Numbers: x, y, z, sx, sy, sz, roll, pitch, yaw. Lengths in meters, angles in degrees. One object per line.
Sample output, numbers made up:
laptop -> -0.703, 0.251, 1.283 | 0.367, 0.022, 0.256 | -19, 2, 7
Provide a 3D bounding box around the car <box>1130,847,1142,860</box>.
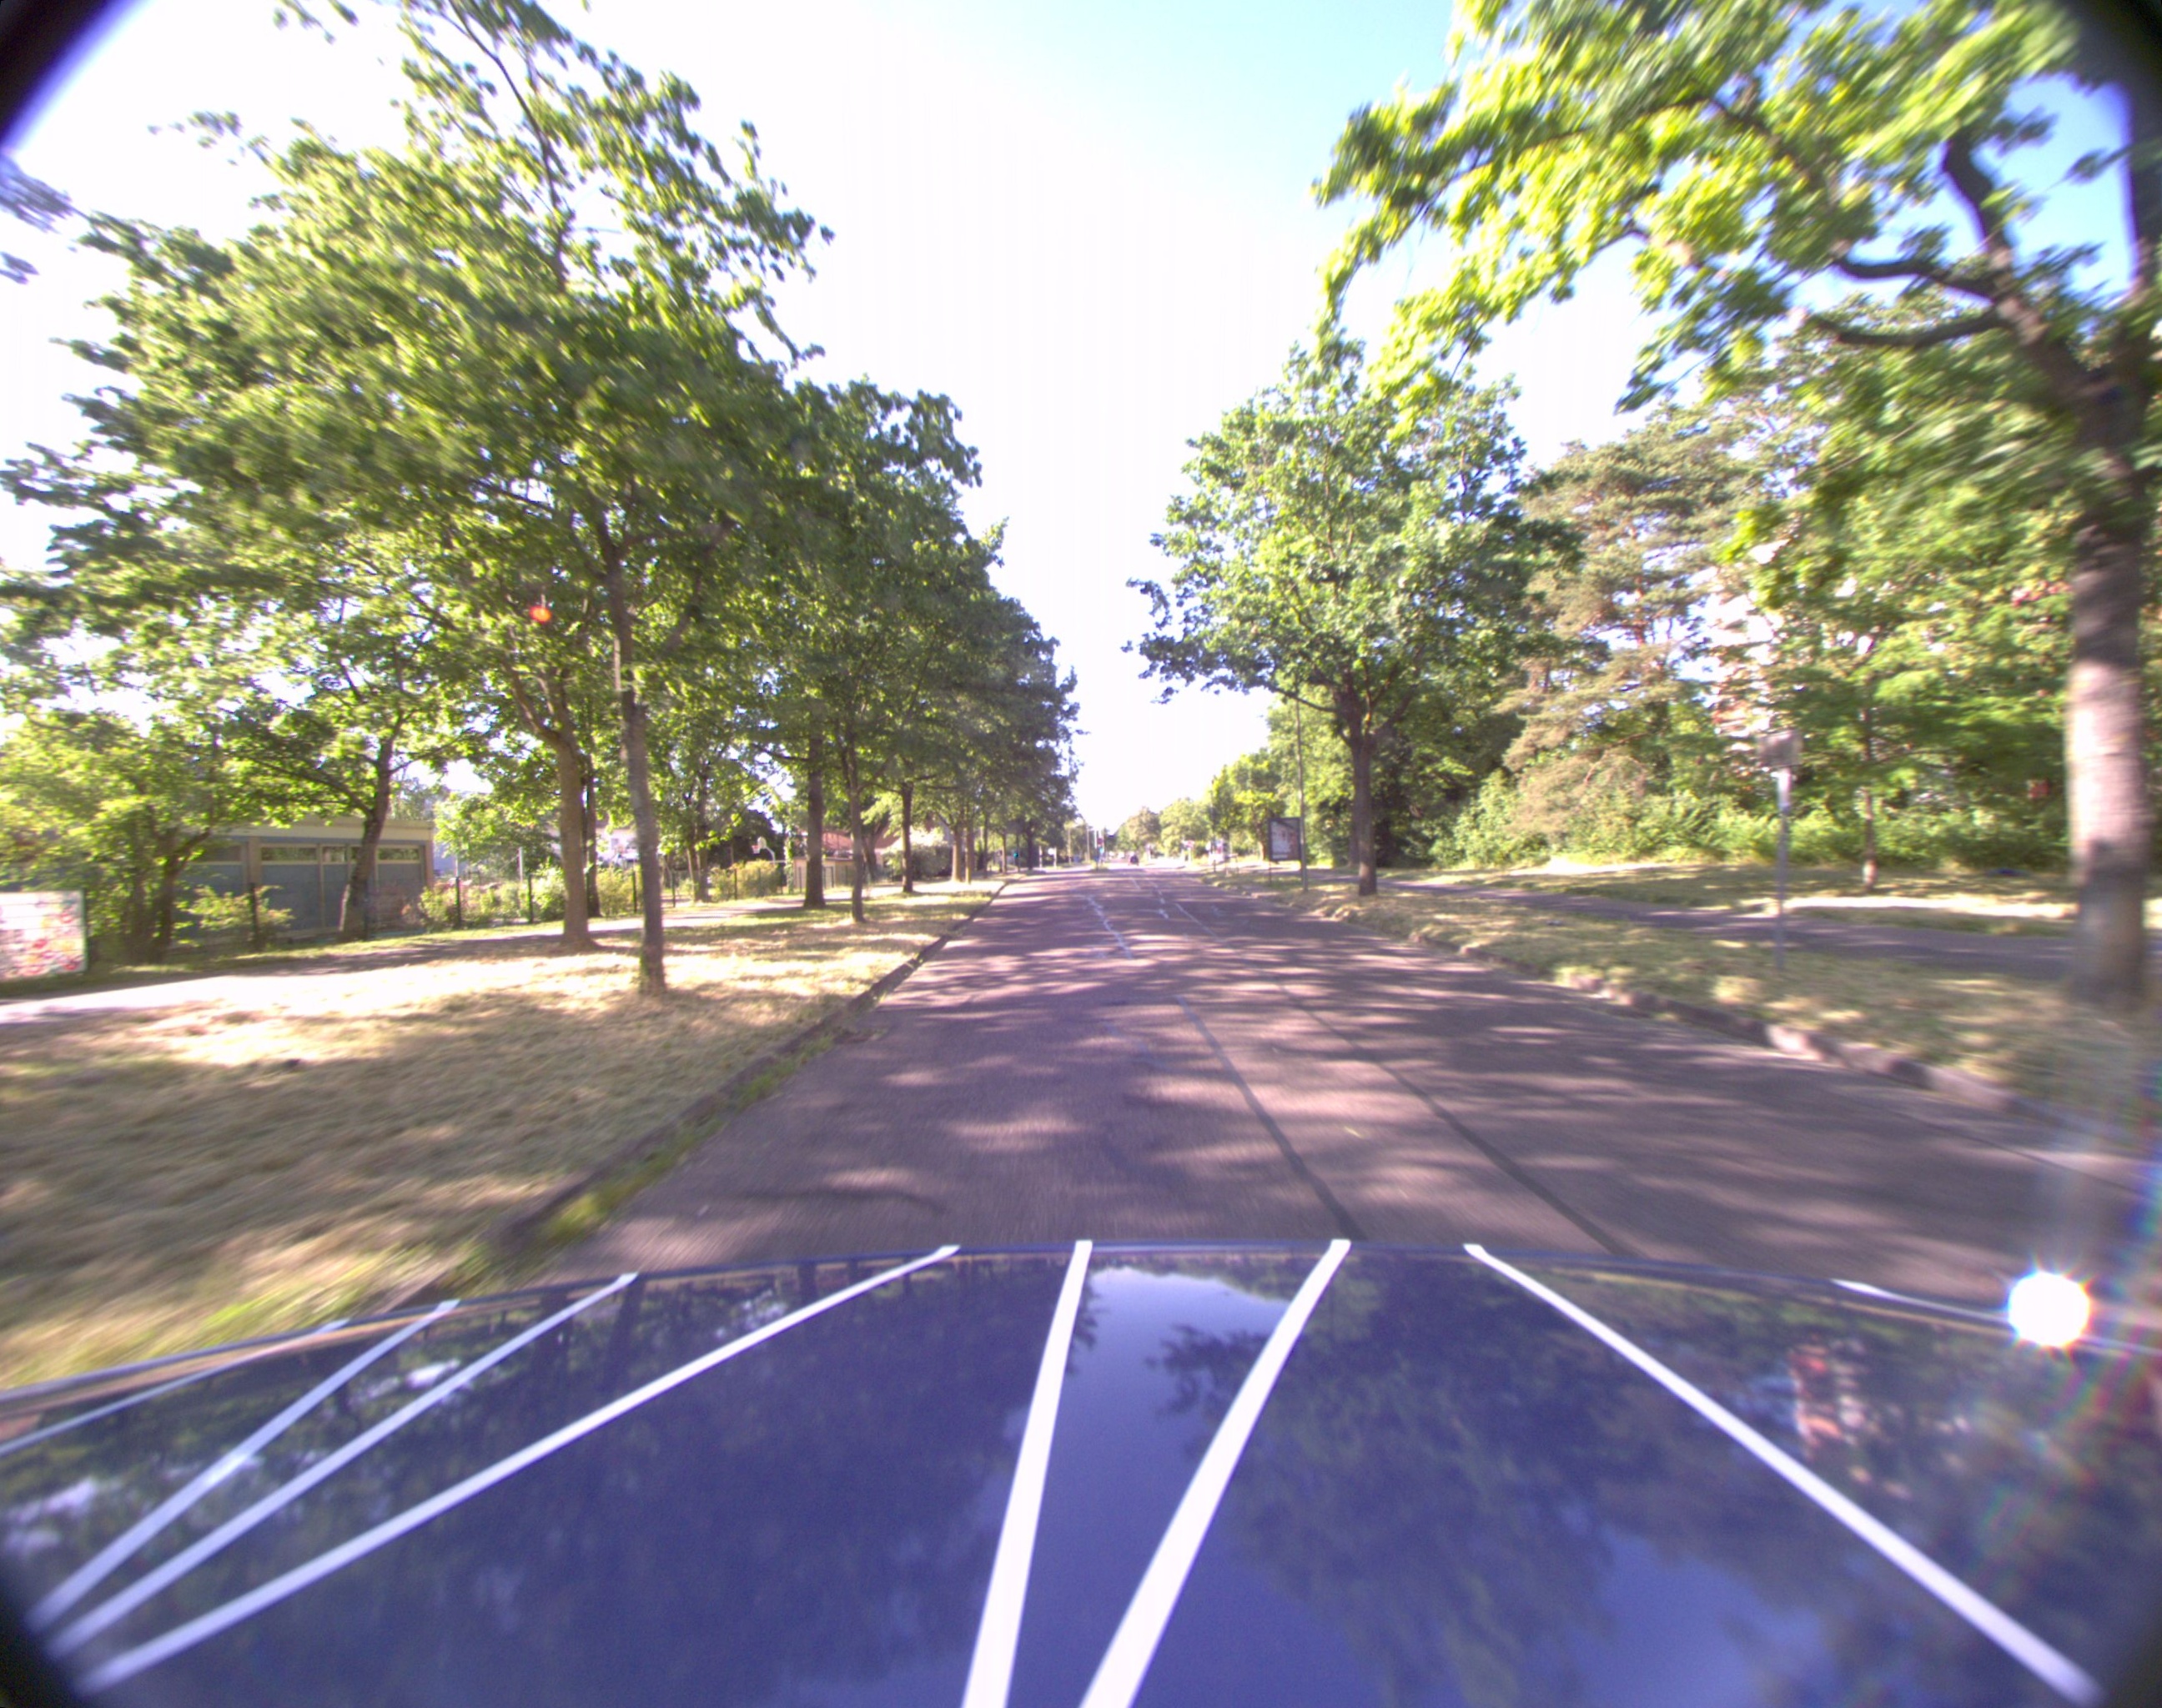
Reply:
car -> 9.191, -0.066, 127.047 | 1.904, 2.082, 3.641 | 0, 0, 1
